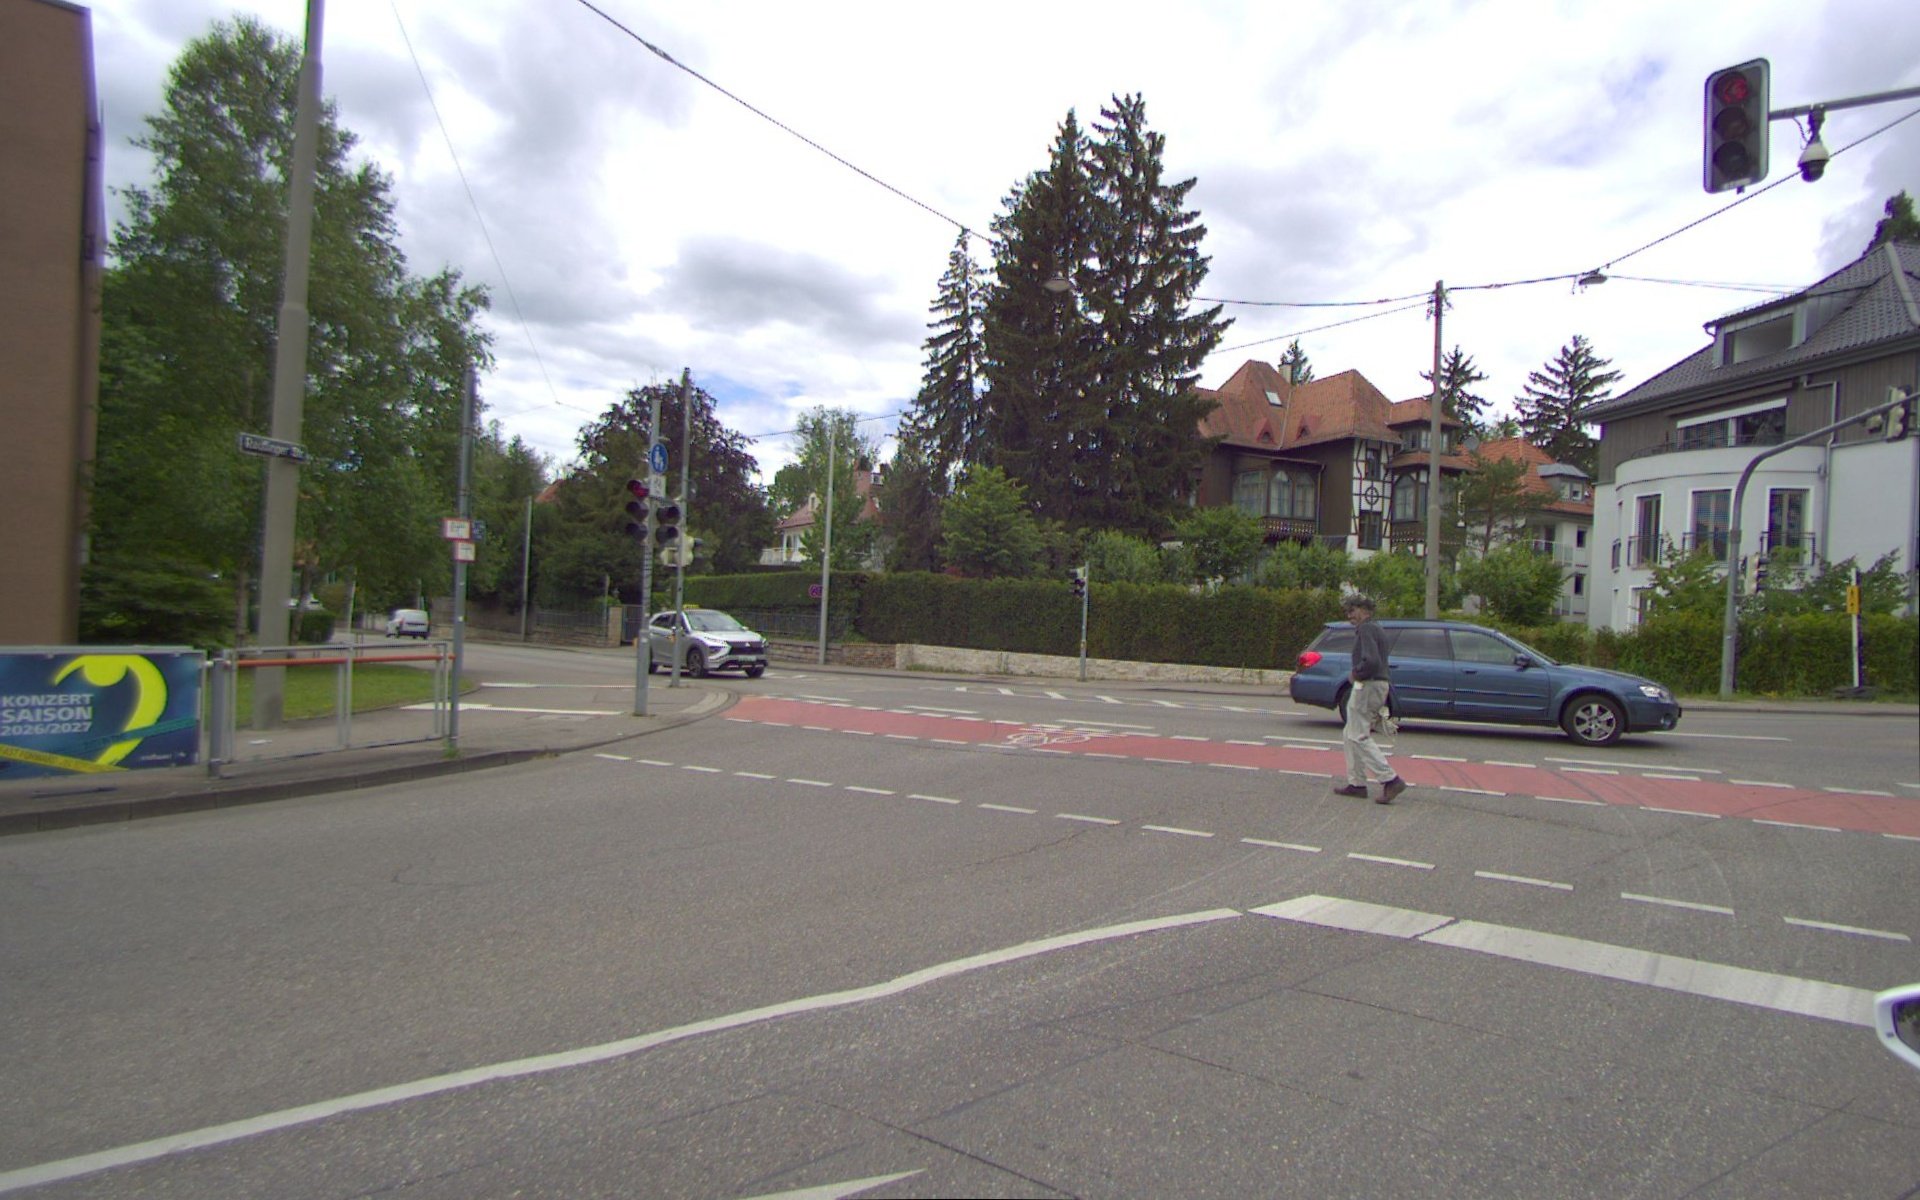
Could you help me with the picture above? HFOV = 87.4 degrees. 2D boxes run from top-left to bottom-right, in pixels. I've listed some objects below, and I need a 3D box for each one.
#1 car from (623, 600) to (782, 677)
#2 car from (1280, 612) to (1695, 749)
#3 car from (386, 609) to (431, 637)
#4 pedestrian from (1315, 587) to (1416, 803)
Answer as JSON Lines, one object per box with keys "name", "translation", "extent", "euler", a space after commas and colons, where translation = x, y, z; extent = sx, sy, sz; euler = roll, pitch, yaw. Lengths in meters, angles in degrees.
{"name": "car", "translation": [-6.535, 0.926, 25.211], "extent": [4.425, 1.776, 1.803], "euler": [-1, -2, 44]}
{"name": "car", "translation": [6.870, 0.976, 13.539], "extent": [4.655, 1.547, 1.804], "euler": [0, -2, 27]}
{"name": "car", "translation": [-35.698, 1.485, 64.989], "extent": [1.799, 1.734, 3.988], "euler": [2, -2, -40]}
{"name": "pedestrian", "translation": [3.284, 0.737, 8.166], "extent": [0.726, 1.655, 0.683], "euler": [0, -1, 21]}
